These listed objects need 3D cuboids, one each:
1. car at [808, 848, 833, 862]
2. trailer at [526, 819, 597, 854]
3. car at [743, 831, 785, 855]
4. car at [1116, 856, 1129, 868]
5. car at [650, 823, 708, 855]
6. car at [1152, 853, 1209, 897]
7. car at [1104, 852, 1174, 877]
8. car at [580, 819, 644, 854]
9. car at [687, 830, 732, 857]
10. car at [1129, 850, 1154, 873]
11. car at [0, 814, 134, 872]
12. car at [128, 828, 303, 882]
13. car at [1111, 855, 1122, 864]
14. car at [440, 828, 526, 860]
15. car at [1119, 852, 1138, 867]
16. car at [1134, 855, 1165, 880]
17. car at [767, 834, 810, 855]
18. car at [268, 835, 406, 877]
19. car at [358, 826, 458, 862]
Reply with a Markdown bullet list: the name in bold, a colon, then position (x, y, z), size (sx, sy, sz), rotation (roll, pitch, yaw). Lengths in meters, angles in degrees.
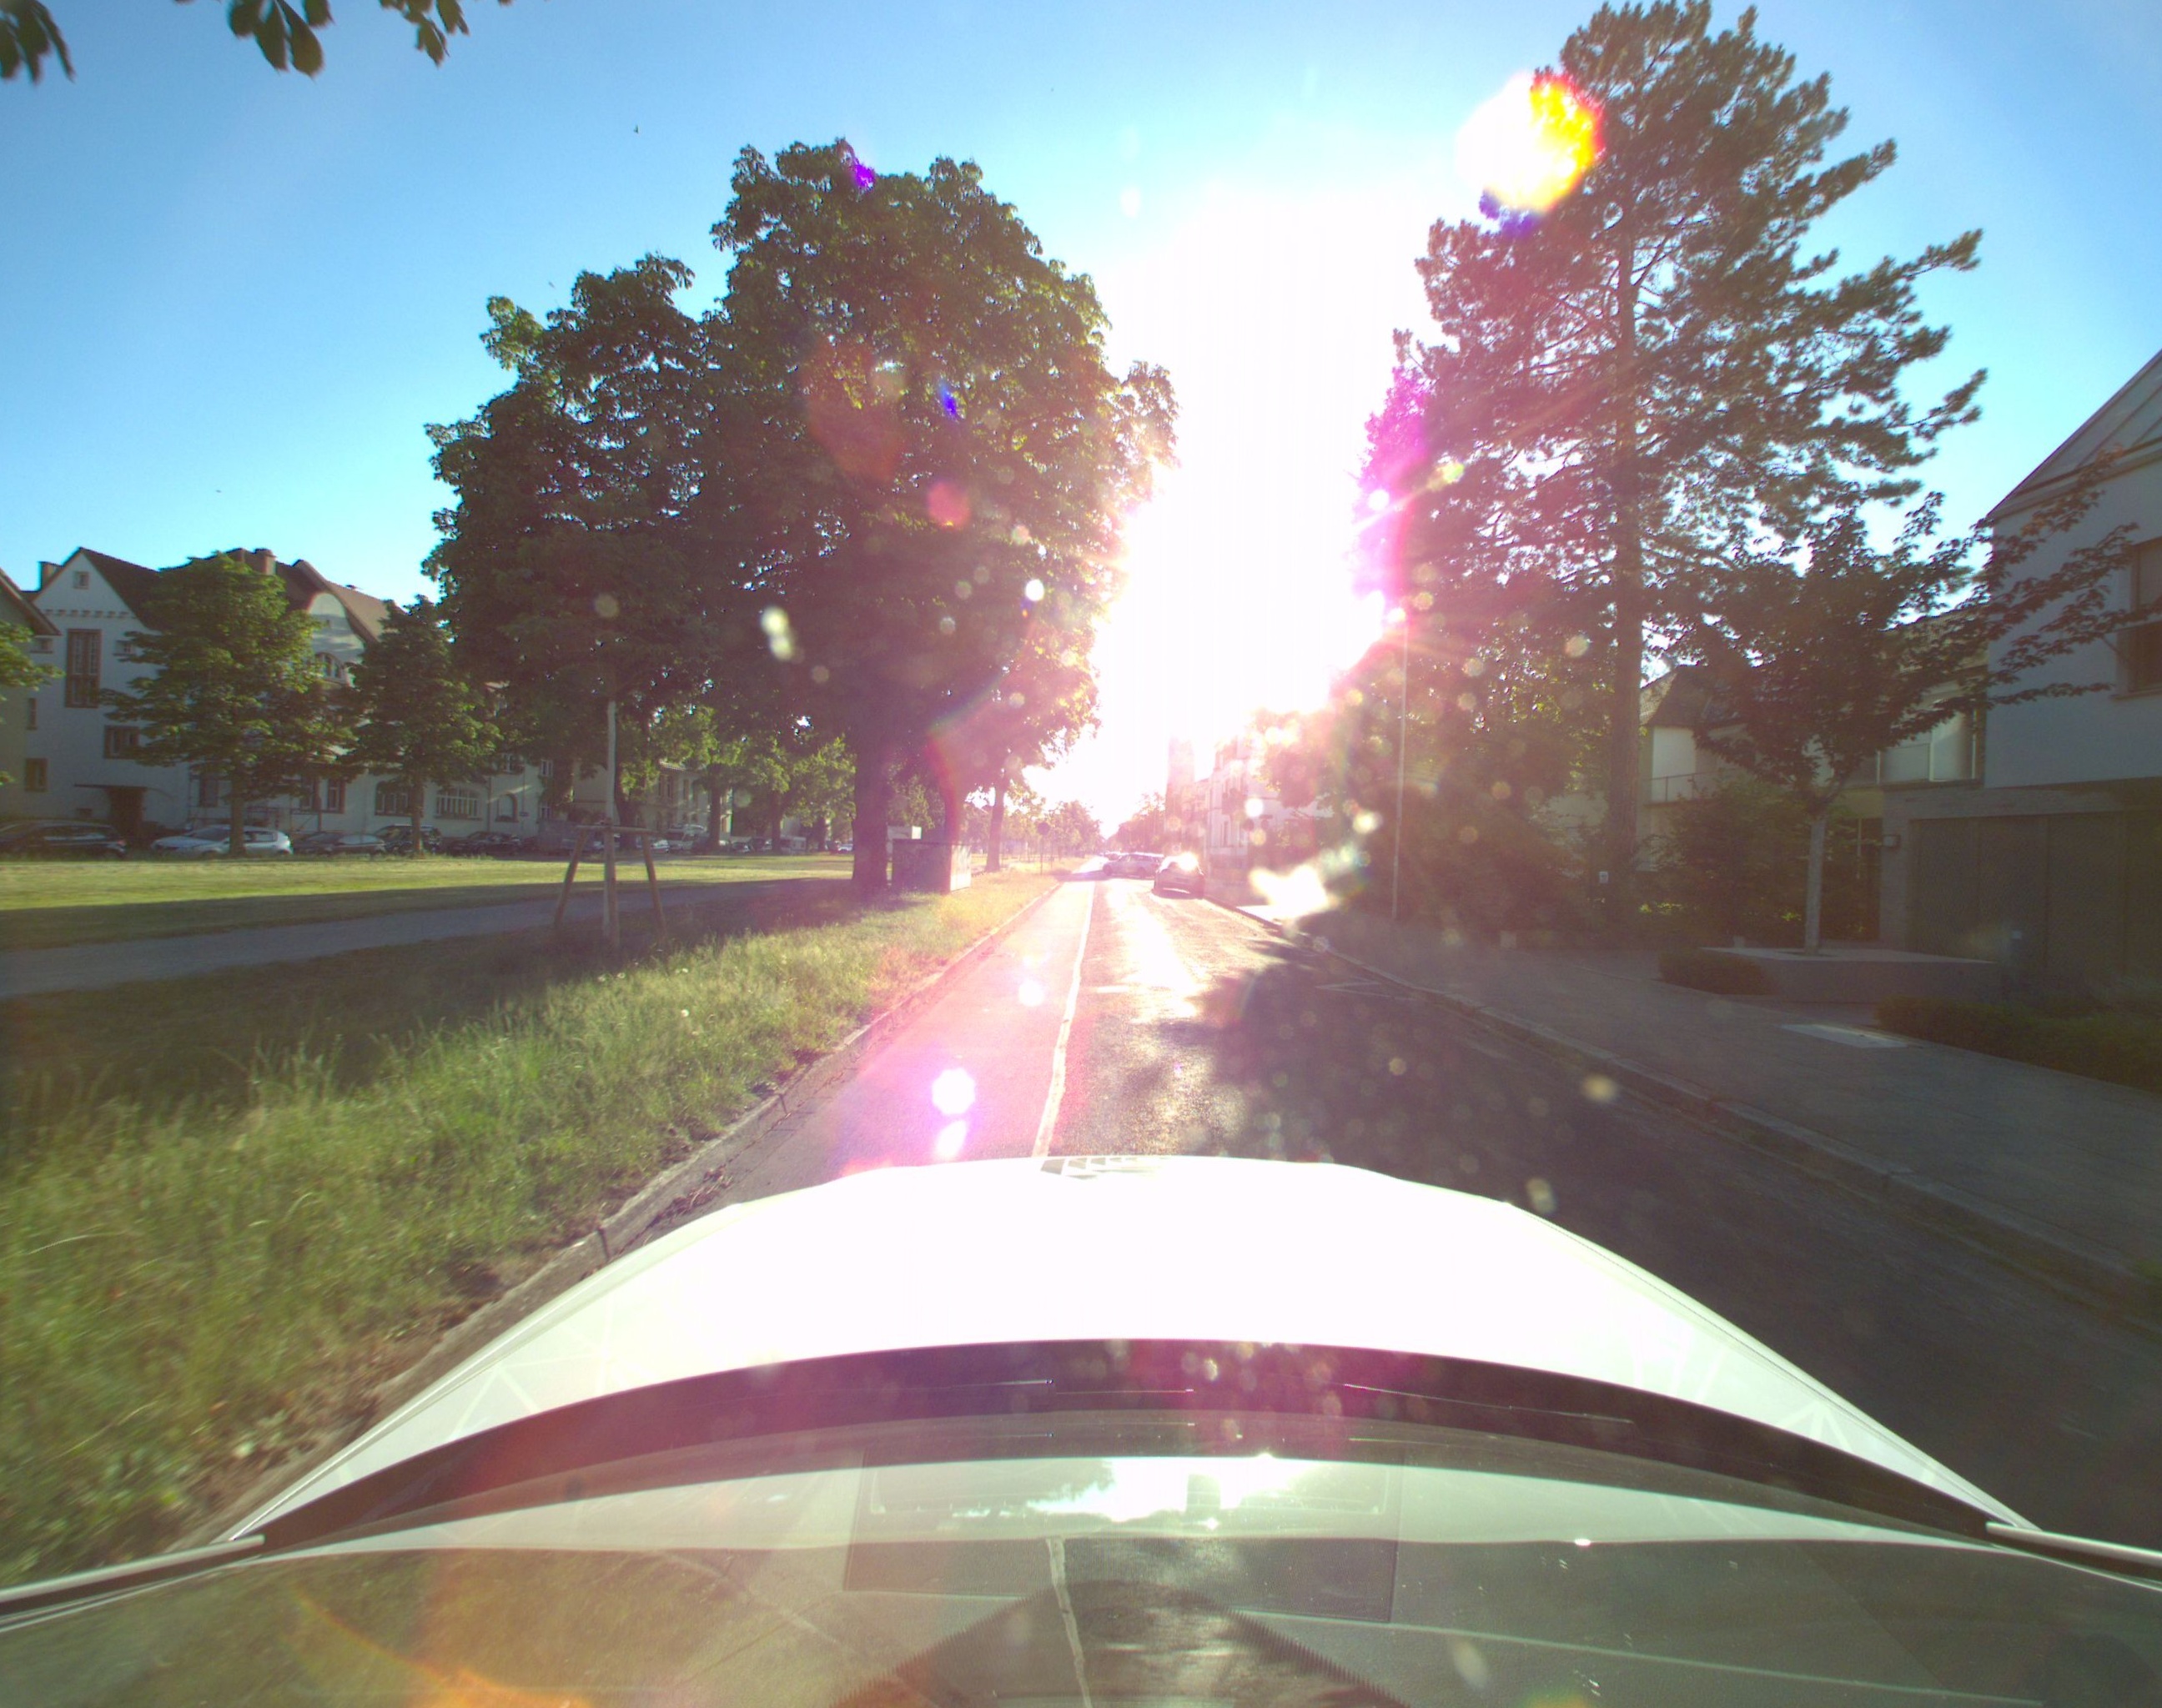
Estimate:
- **car**: position (-36.915, 0.158, 115.440), size (1.986, 2.014, 4.486), rotation (-1, 0, 1)
- **trailer**: position (-38.074, -1.234, 59.842), size (1.986, 2.428, 4.726), rotation (2, 0, 2)
- **car**: position (-31.724, -1.077, 81.653), size (1.986, 2.250, 5.188), rotation (2, 0, 1)
- **car**: position (6.281, 1.178, 123.506), size (1.986, 1.629, 4.002), rotation (2, 0, 2)
- **car**: position (-37.807, -1.349, 76.819), size (2.429, 2.922, 5.819), rotation (-1, -1, 1)
- **car**: position (3.937, 0.800, 32.770), size (1.750, 1.419, 4.074), rotation (8, 0, 2)
- **car**: position (3.444, 0.608, 49.103), size (3.949, 1.420, 1.777), rotation (1, 1, 41)
- **car**: position (-37.760, -1.355, 65.761), size (1.986, 2.672, 5.189), rotation (1, 0, 2)
- **car**: position (-32.007, -0.889, 70.292), size (1.678, 2.176, 4.317), rotation (1, 0, 2)
- **car**: position (4.626, 0.568, 62.623), size (1.679, 1.651, 4.101), rotation (2, 0, 1)
- **car**: position (-33.218, -0.351, 25.495), size (1.985, 1.721, 4.258), rotation (2, 0, 3)
- **car**: position (-32.992, 0.048, 31.263), size (1.985, 1.860, 4.258), rotation (2, 0, 3)
- **car**: position (6.866, 1.129, 157.996), size (1.972, 1.683, 4.002), rotation (2, 0, 2)
- **car**: position (-38.548, -0.619, 52.643), size (1.987, 1.952, 4.750), rotation (2, 0, 0)
- **car**: position (4.991, 0.557, 86.684), size (1.755, 1.521, 4.000), rotation (3, 0, 0)
- **car**: position (4.658, 0.886, 55.822), size (1.753, 1.605, 4.358), rotation (1, 0, 0)
- **car**: position (-31.682, -1.039, 88.536), size (2.525, 2.236, 5.461), rotation (1, 1, 2)
- **car**: position (-32.810, 0.104, 36.105), size (1.985, 1.649, 4.258), rotation (2, 0, 3)
- **car**: position (-38.535, -0.552, 46.799), size (1.988, 1.876, 4.493), rotation (2, 0, -1)
